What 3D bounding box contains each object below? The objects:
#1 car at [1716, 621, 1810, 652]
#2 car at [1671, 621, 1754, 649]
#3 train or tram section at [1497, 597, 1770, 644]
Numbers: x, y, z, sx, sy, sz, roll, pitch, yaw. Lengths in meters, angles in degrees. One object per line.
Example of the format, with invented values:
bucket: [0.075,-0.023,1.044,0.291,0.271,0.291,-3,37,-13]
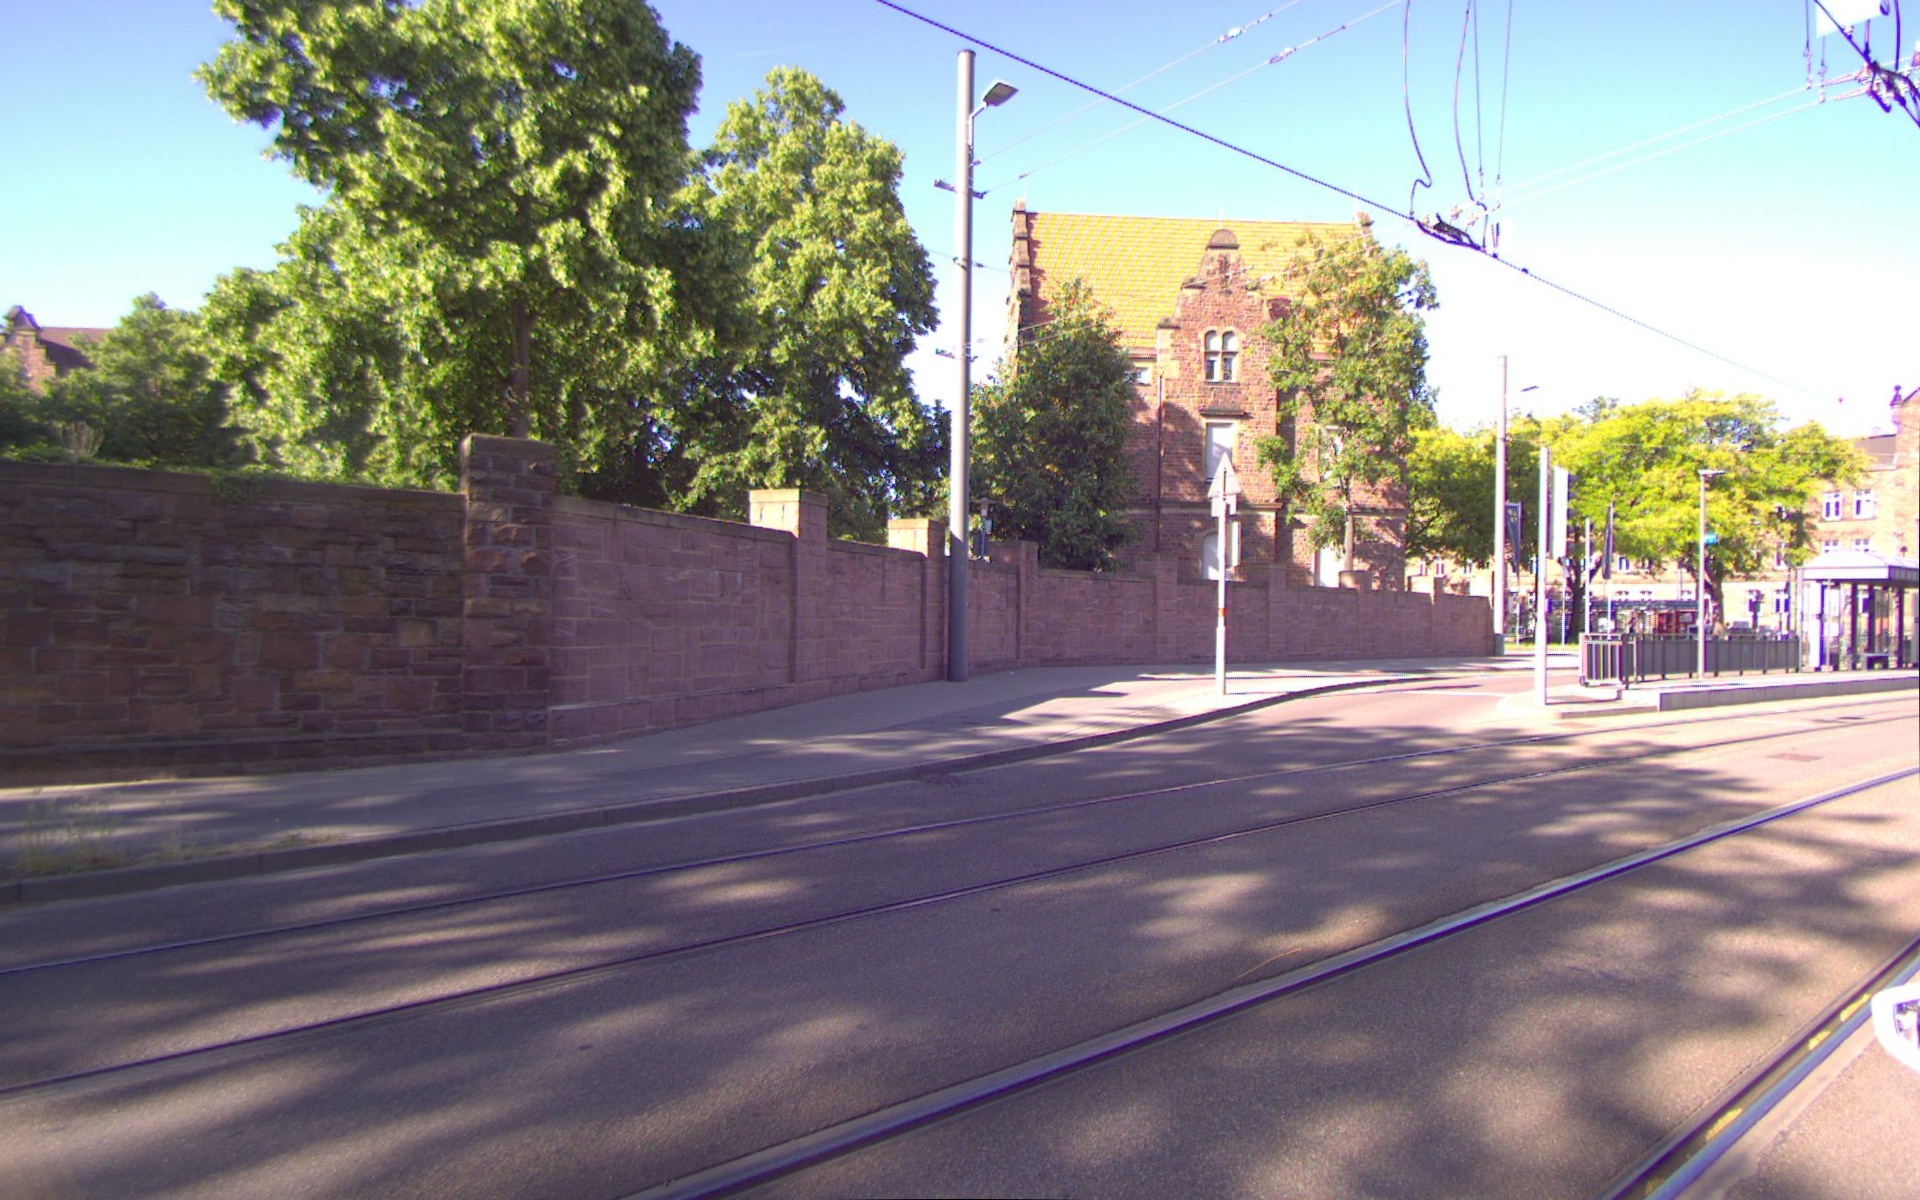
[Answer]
car: [47.751,2.167,59.790,1.798,1.651,3.964,2,0,-32]
car: [49.177,2.249,65.673,1.798,1.651,3.964,2,0,-32]
train or tram section: [50.027,1.466,75.878,3.312,3.196,17.280,2,-1,-33]
